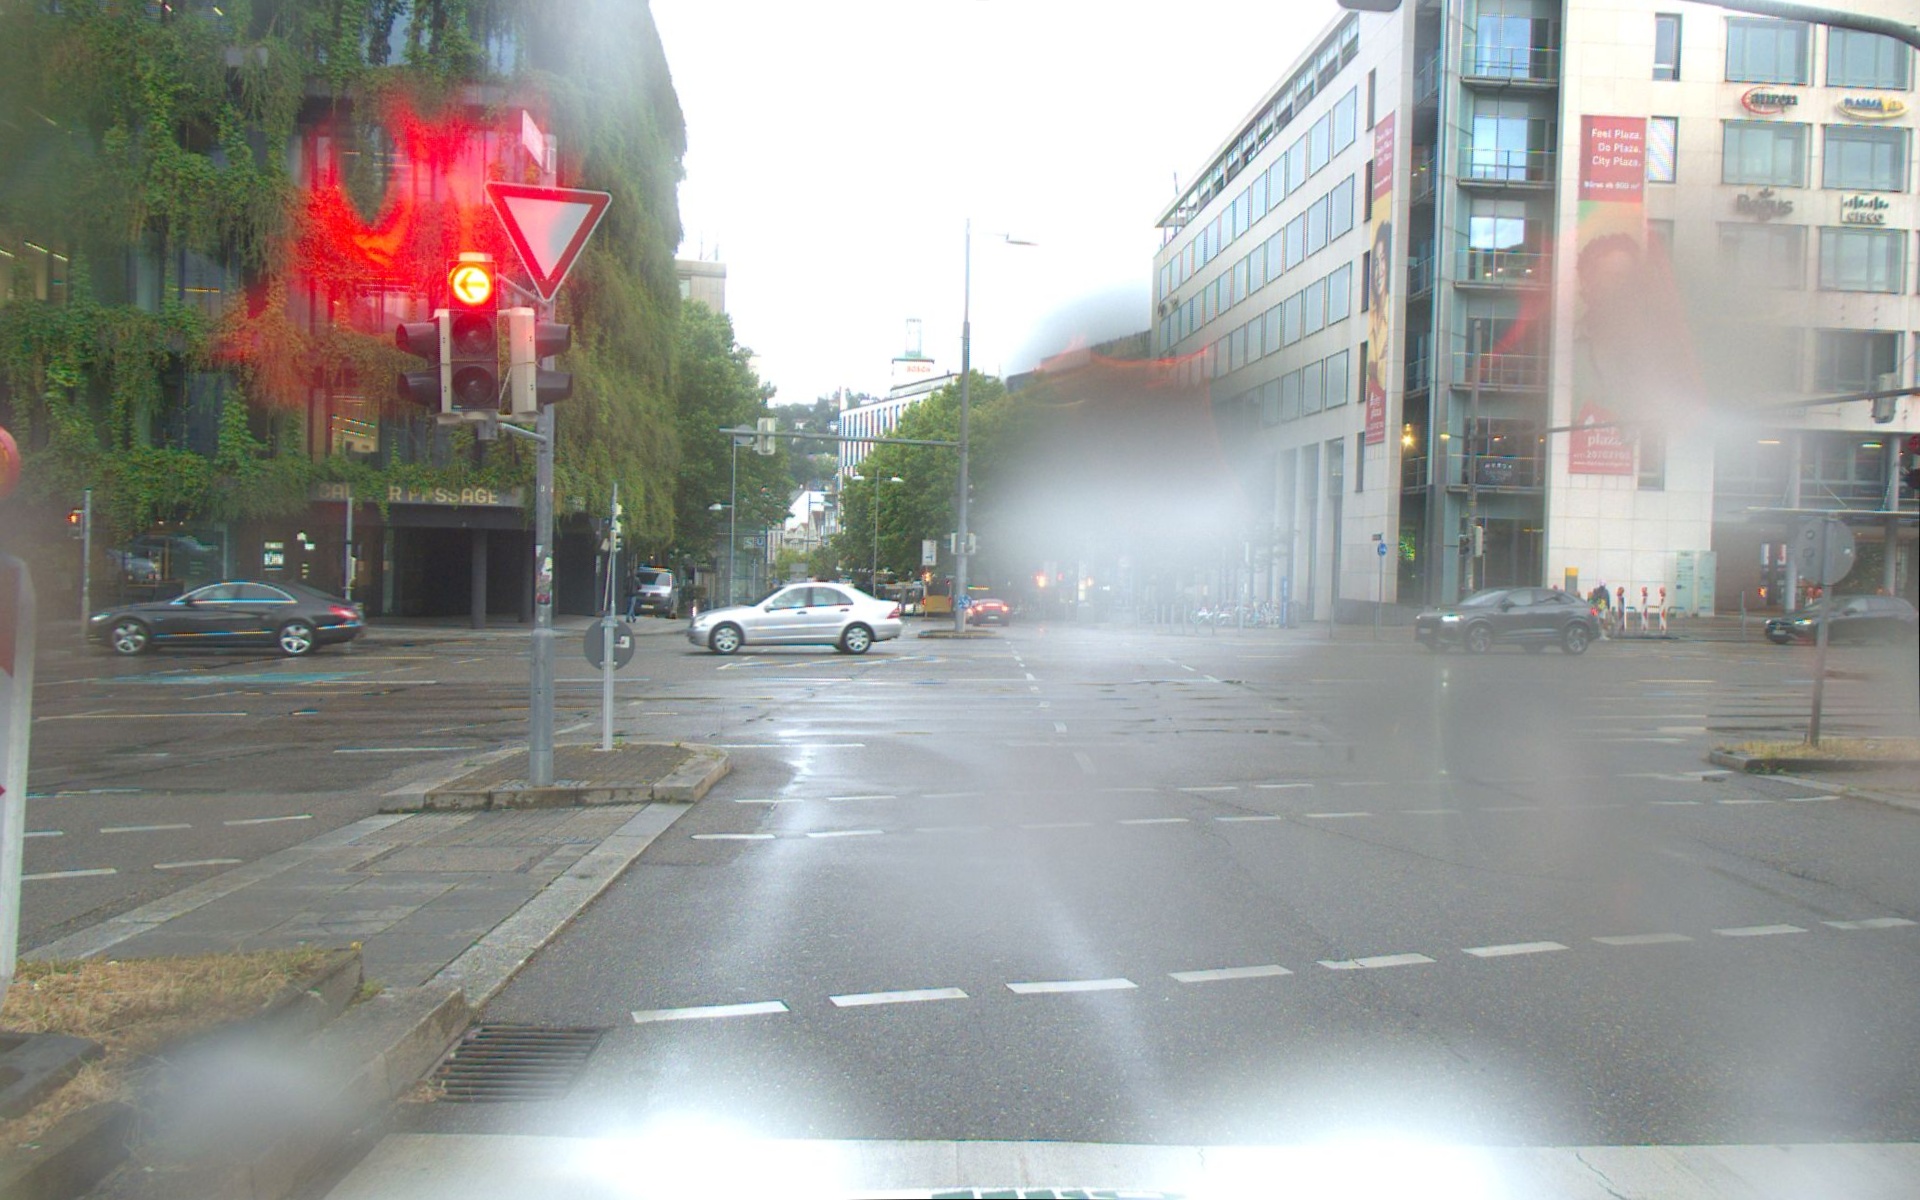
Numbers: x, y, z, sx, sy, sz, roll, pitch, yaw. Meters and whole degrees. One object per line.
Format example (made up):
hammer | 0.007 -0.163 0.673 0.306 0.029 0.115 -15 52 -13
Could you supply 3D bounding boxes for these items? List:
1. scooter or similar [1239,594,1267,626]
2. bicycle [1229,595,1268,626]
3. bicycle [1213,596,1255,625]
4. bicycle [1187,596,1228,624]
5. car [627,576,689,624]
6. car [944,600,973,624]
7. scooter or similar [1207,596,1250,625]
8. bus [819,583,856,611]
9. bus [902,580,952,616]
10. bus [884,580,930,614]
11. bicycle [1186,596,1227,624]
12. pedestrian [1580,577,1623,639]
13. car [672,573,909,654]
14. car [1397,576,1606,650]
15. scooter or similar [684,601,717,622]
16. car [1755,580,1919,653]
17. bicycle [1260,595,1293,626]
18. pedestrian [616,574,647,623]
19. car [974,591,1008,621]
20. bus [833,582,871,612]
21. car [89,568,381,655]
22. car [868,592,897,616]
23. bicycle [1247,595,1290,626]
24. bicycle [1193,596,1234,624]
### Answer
scooter or similar | 11.388 0.400 64.310 0.946 1.215 0.453 1 -1 40
bicycle | 11.587 0.413 66.550 0.578 1.215 1.766 1 0 -28
bicycle | 11.895 0.440 71.764 1.741 1.215 0.586 1 -1 1
bicycle | 11.008 0.432 73.554 1.741 1.215 0.586 1 -1 1
car | -12.387 0.017 68.127 1.832 1.871 3.999 1 0 -1
car | -0.120 0.773 106.738 1.745 1.534 3.999 1 0 -1
scooter or similar | 11.550 0.431 71.136 1.741 1.215 0.586 1 -1 1
bus | -13.333 -0.338 180.118 2.585 3.048 7.417 0 0 -16
bus | -2.964 -0.218 145.885 2.585 3.048 7.417 0 0 -16
bus | -4.960 -0.275 153.001 2.585 3.048 7.417 0 0 -16
bicycle | 10.865 0.427 72.917 1.741 1.215 0.586 1 -1 1
pedestrian | 19.386 0.238 49.971 0.942 1.848 0.836 1 -1 -1
car | -3.525 0.246 34.141 4.640 1.502 1.993 0 3 -15
car | 12.645 0.310 38.676 4.402 1.637 1.823 1 0 -17
scooter or similar | -12.931 0.546 82.328 0.612 1.022 1.653 1 0 37
car | 26.031 0.476 48.735 4.561 2.049 1.547 1 0 -5
bicycle | 12.862 0.437 67.126 0.575 1.215 1.776 1 -1 37
pedestrian | -11.588 -0.048 58.358 0.915 1.673 0.774 1 -1 -1
car | 1.670 0.322 90.237 1.745 1.534 3.999 1 0 -1
bus | -11.336 -0.304 173.051 2.585 3.048 7.296 0 0 -16
car | -13.570 0.246 31.290 4.768 1.503 1.991 1 -2 -16
car | -6.003 0.328 127.075 2.121 1.796 5.108 0 0 -4
bicycle | 12.124 0.415 65.006 1.590 1.215 0.586 1 -1 25
bicycle | 11.425 0.443 74.478 1.741 1.215 0.586 1 -1 1
